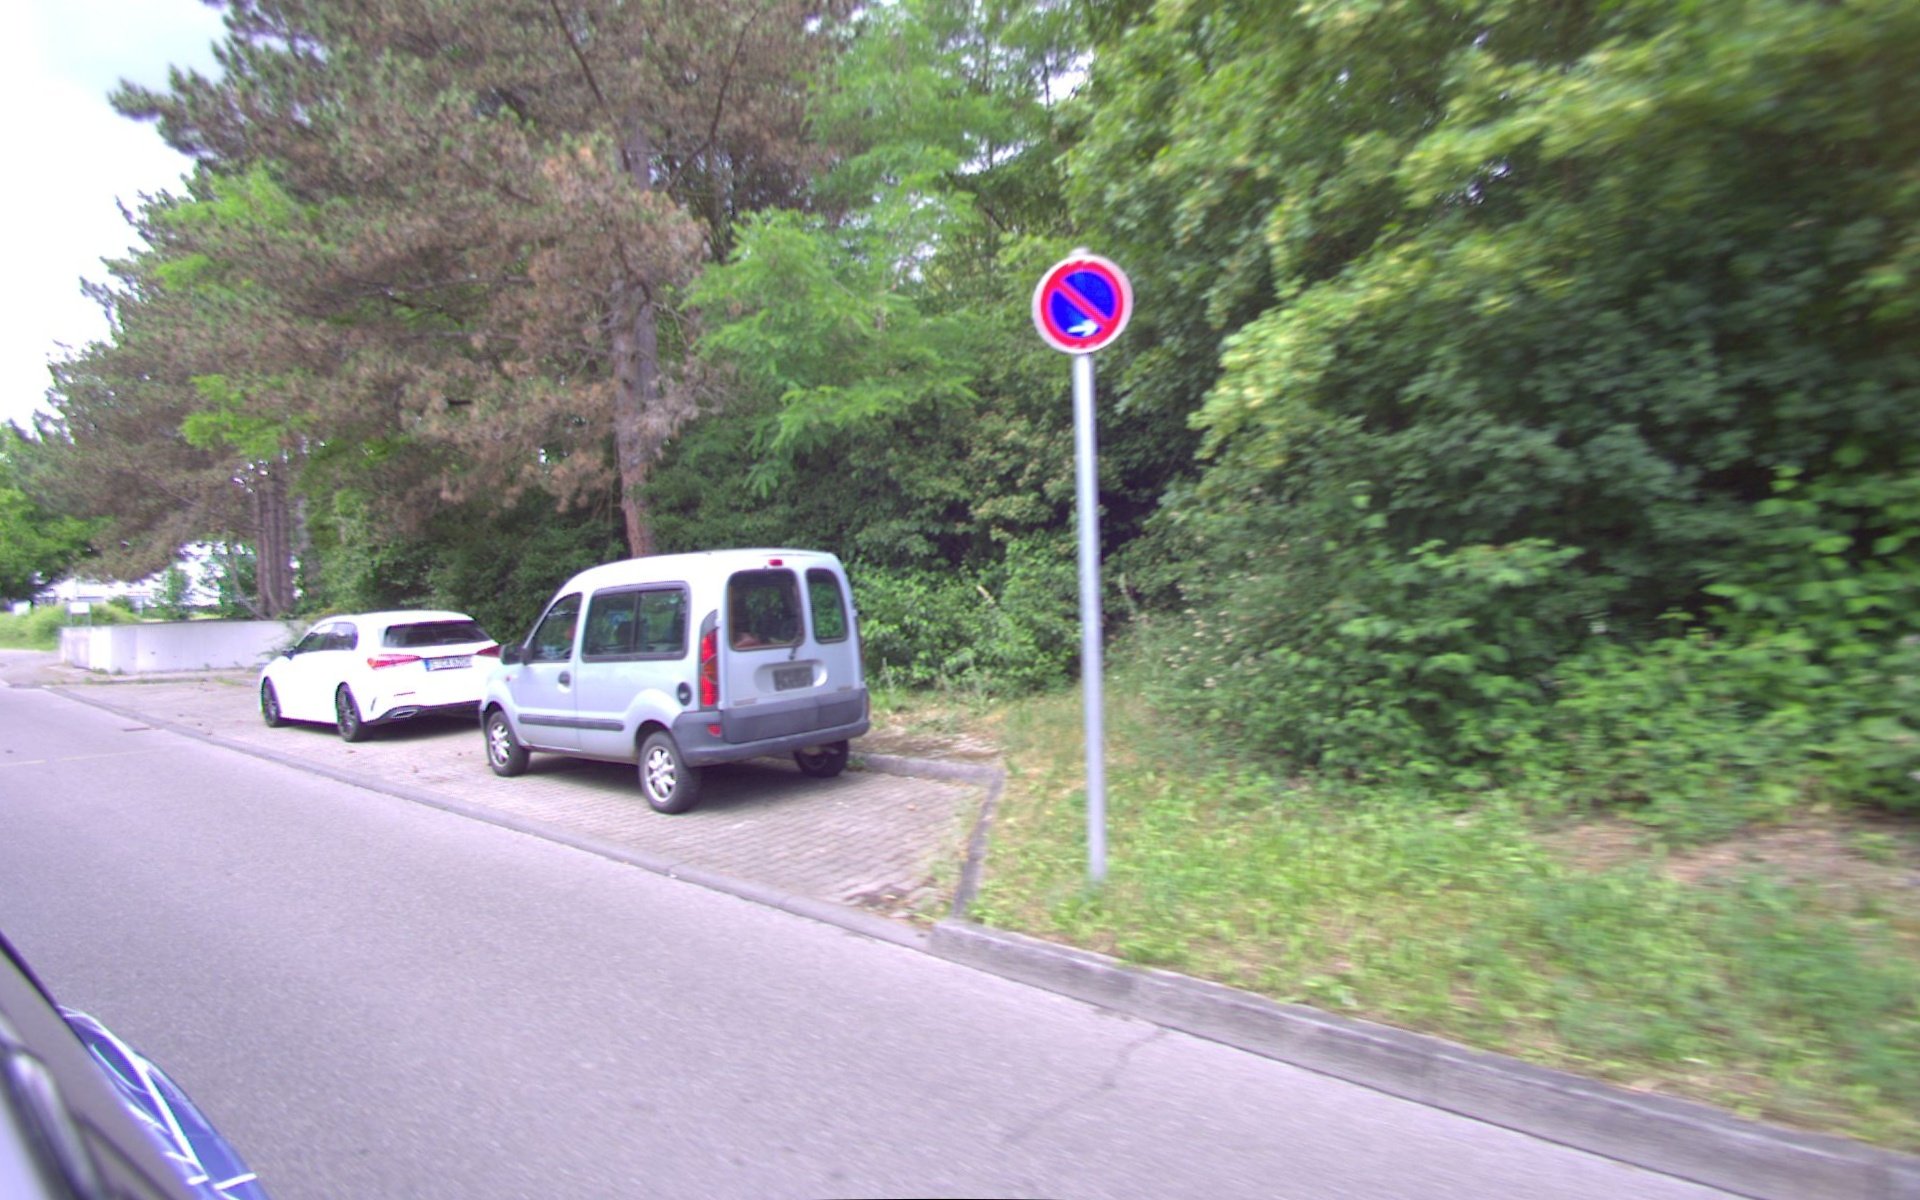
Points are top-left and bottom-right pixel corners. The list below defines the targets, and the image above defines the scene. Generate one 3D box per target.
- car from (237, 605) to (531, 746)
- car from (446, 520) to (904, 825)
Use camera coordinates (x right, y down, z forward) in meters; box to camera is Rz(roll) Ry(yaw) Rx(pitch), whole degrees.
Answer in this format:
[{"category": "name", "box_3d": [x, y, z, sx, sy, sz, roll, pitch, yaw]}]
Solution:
[{"category": "car", "box_3d": [-7.372, 0.856, 12.780, 4.368, 1.413, 1.788, -2, 1, 40]}, {"category": "car", "box_3d": [-2.548, 0.487, 8.442, 4.104, 1.935, 1.702, -3, 1, 43]}]
